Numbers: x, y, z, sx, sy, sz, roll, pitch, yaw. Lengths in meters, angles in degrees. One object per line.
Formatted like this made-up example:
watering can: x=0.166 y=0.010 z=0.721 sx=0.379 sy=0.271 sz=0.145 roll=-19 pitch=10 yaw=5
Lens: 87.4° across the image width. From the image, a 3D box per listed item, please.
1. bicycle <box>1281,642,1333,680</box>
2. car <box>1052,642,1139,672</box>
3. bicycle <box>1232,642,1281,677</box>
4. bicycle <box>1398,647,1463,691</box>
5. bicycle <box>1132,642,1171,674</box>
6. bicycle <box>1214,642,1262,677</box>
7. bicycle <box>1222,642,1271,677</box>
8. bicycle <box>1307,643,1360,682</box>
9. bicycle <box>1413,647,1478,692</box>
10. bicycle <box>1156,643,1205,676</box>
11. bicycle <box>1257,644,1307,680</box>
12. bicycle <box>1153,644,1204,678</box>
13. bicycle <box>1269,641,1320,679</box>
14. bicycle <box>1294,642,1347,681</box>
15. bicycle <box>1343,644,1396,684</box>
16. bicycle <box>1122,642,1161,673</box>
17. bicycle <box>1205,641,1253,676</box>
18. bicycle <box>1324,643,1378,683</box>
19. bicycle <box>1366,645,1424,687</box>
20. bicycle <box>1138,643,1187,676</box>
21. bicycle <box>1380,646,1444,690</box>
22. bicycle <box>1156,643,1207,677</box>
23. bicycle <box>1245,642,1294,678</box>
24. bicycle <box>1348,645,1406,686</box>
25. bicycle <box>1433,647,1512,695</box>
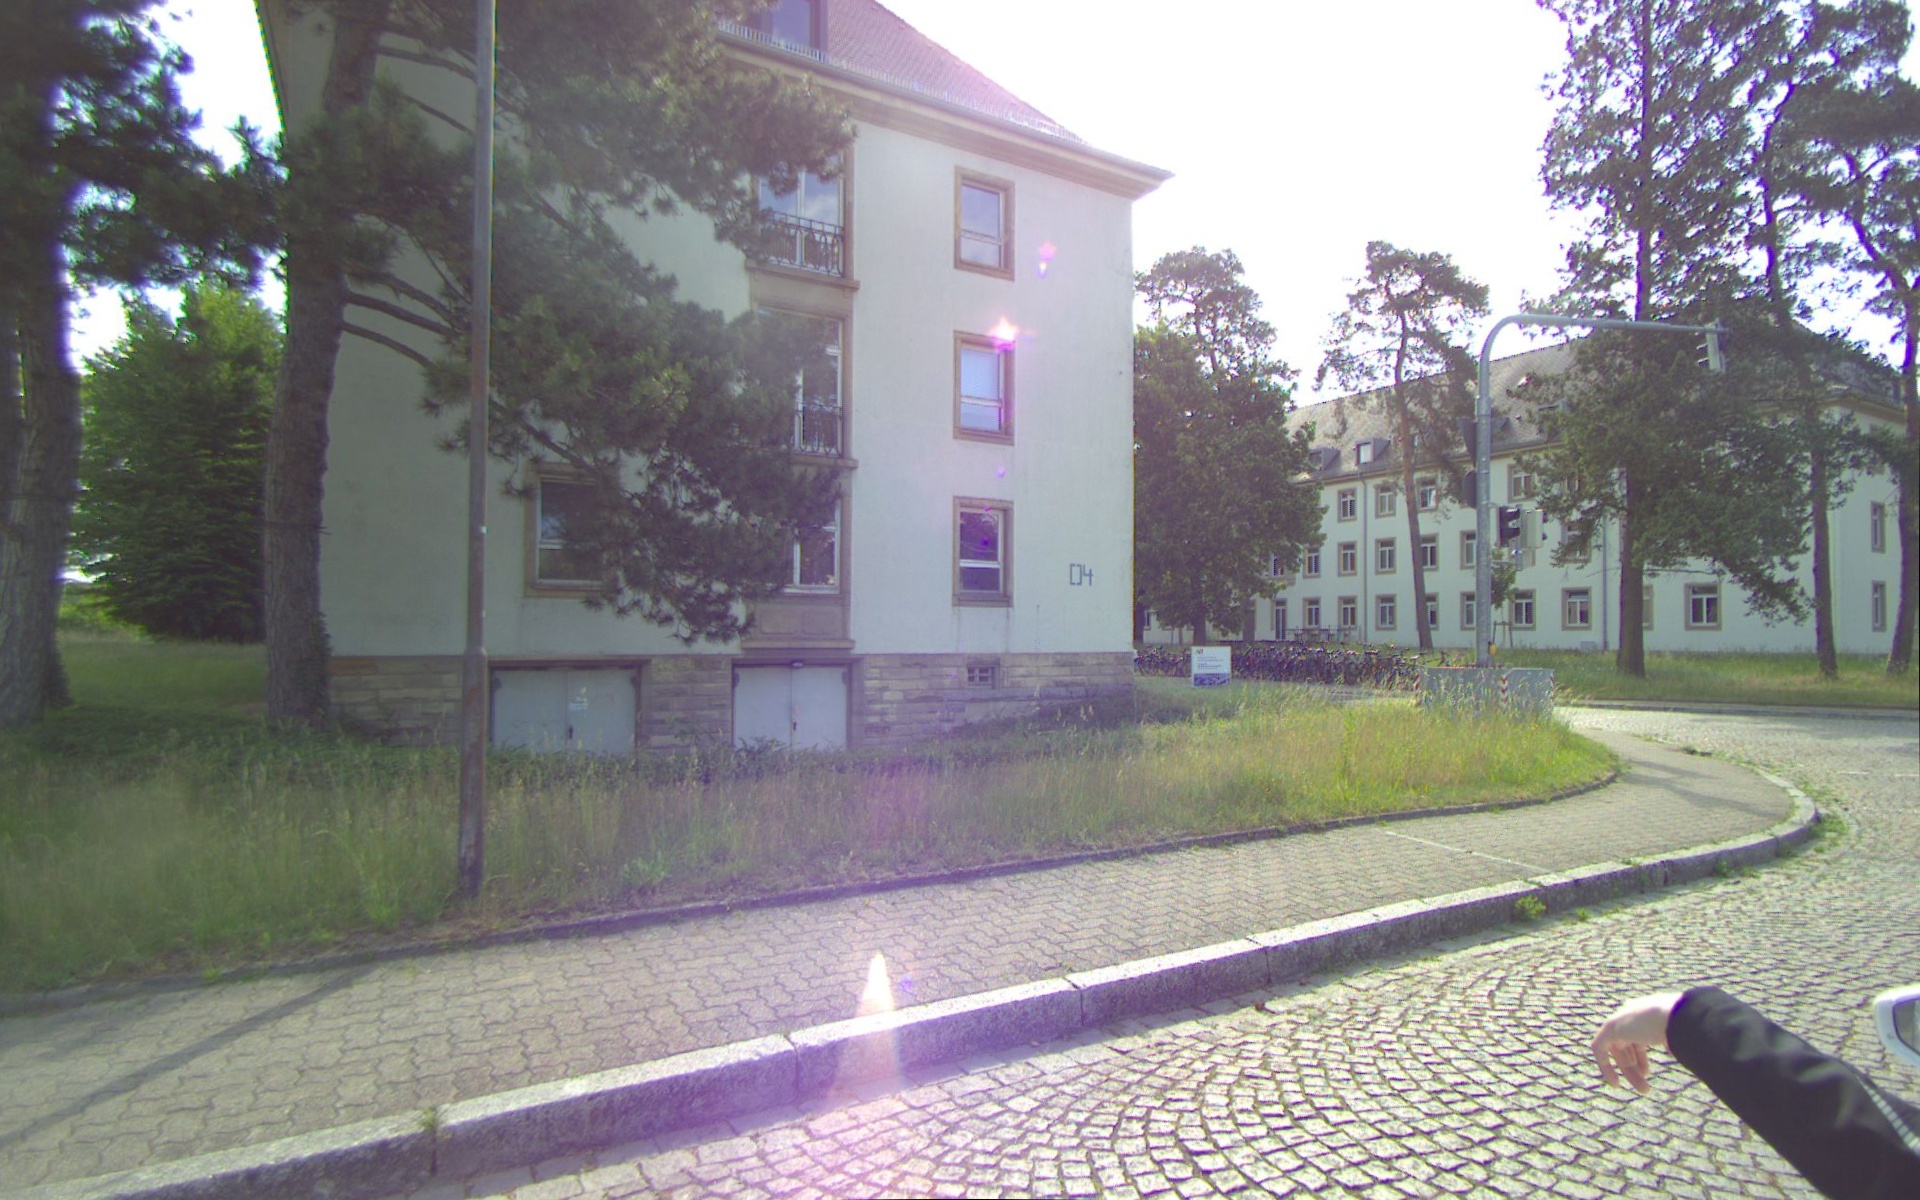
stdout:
bicycle: x=11.635 y=2.020 z=33.650 sx=1.932 sy=1.236 sz=0.511 roll=1 pitch=-2 yaw=-31
car: x=5.817 y=2.432 z=43.058 sx=3.549 sy=1.227 sz=1.504 roll=1 pitch=-2 yaw=-29
bicycle: x=10.531 y=2.099 z=35.669 sx=1.915 sy=1.236 sz=0.511 roll=1 pitch=-2 yaw=-31
bicycle: x=13.601 y=1.976 z=29.026 sx=2.099 sy=1.236 sz=0.630 roll=1 pitch=-2 yaw=-31
bicycle: x=7.618 y=2.300 z=39.910 sx=1.815 sy=1.236 sz=0.510 roll=2 pitch=-2 yaw=-41
bicycle: x=10.092 y=2.137 z=36.446 sx=1.915 sy=1.236 sz=0.511 roll=1 pitch=-2 yaw=-31
bicycle: x=10.304 y=2.134 z=36.073 sx=1.915 sy=1.236 sz=0.511 roll=1 pitch=-2 yaw=-31
bicycle: x=12.183 y=2.019 z=32.764 sx=1.954 sy=1.236 sz=0.511 roll=1 pitch=-2 yaw=-31
bicycle: x=13.847 y=1.971 z=28.610 sx=2.090 sy=1.236 sz=0.630 roll=1 pitch=-2 yaw=-31
bicycle: x=8.529 y=2.308 z=38.879 sx=1.792 sy=1.236 sz=0.516 roll=0 pitch=-2 yaw=7
bicycle: x=11.119 y=2.125 z=34.620 sx=1.915 sy=1.236 sz=0.511 roll=1 pitch=-2 yaw=-31
bicycle: x=8.004 y=2.227 z=36.809 sx=1.794 sy=1.236 sz=0.515 roll=-1 pitch=-2 yaw=25
bicycle: x=11.370 y=2.024 z=34.138 sx=1.915 sy=1.236 sz=0.511 roll=1 pitch=-2 yaw=-31
bicycle: x=11.922 y=2.019 z=33.211 sx=1.954 sy=1.236 sz=0.511 roll=1 pitch=-2 yaw=-31
bicycle: x=13.029 y=2.018 z=31.920 sx=1.878 sy=1.236 sz=0.545 roll=1 pitch=-2 yaw=-31
bicycle: x=7.304 y=2.304 z=40.427 sx=1.813 sy=1.236 sz=0.510 roll=2 pitch=-2 yaw=-39
bicycle: x=9.877 y=2.141 z=36.838 sx=1.915 sy=1.236 sz=0.511 roll=1 pitch=-2 yaw=-31
bicycle: x=12.542 y=2.016 z=32.226 sx=1.992 sy=1.236 sz=0.511 roll=1 pitch=-2 yaw=-31
bicycle: x=13.213 y=1.996 z=30.493 sx=1.967 sy=1.236 sz=0.569 roll=1 pitch=-2 yaw=-31
bicycle: x=7.735 y=2.285 z=38.408 sx=1.792 sy=1.236 sz=0.516 roll=0 pitch=-2 yaw=7
bicycle: x=13.309 y=1.980 z=29.554 sx=2.080 sy=1.236 sz=0.630 roll=1 pitch=-2 yaw=-31
bicycle: x=8.238 y=2.235 z=37.414 sx=1.794 sy=1.236 sz=0.515 roll=-1 pitch=-2 yaw=25
bicycle: x=10.842 y=2.095 z=35.145 sx=1.915 sy=1.236 sz=0.511 roll=1 pitch=-2 yaw=-31
bicycle: x=12.954 y=2.006 z=31.208 sx=2.006 sy=1.236 sz=0.576 roll=1 pitch=-2 yaw=-31
bicycle: x=13.825 y=1.900 z=27.132 sx=0.627 sy=1.236 sz=1.853 roll=1 pitch=-2 yaw=-30
